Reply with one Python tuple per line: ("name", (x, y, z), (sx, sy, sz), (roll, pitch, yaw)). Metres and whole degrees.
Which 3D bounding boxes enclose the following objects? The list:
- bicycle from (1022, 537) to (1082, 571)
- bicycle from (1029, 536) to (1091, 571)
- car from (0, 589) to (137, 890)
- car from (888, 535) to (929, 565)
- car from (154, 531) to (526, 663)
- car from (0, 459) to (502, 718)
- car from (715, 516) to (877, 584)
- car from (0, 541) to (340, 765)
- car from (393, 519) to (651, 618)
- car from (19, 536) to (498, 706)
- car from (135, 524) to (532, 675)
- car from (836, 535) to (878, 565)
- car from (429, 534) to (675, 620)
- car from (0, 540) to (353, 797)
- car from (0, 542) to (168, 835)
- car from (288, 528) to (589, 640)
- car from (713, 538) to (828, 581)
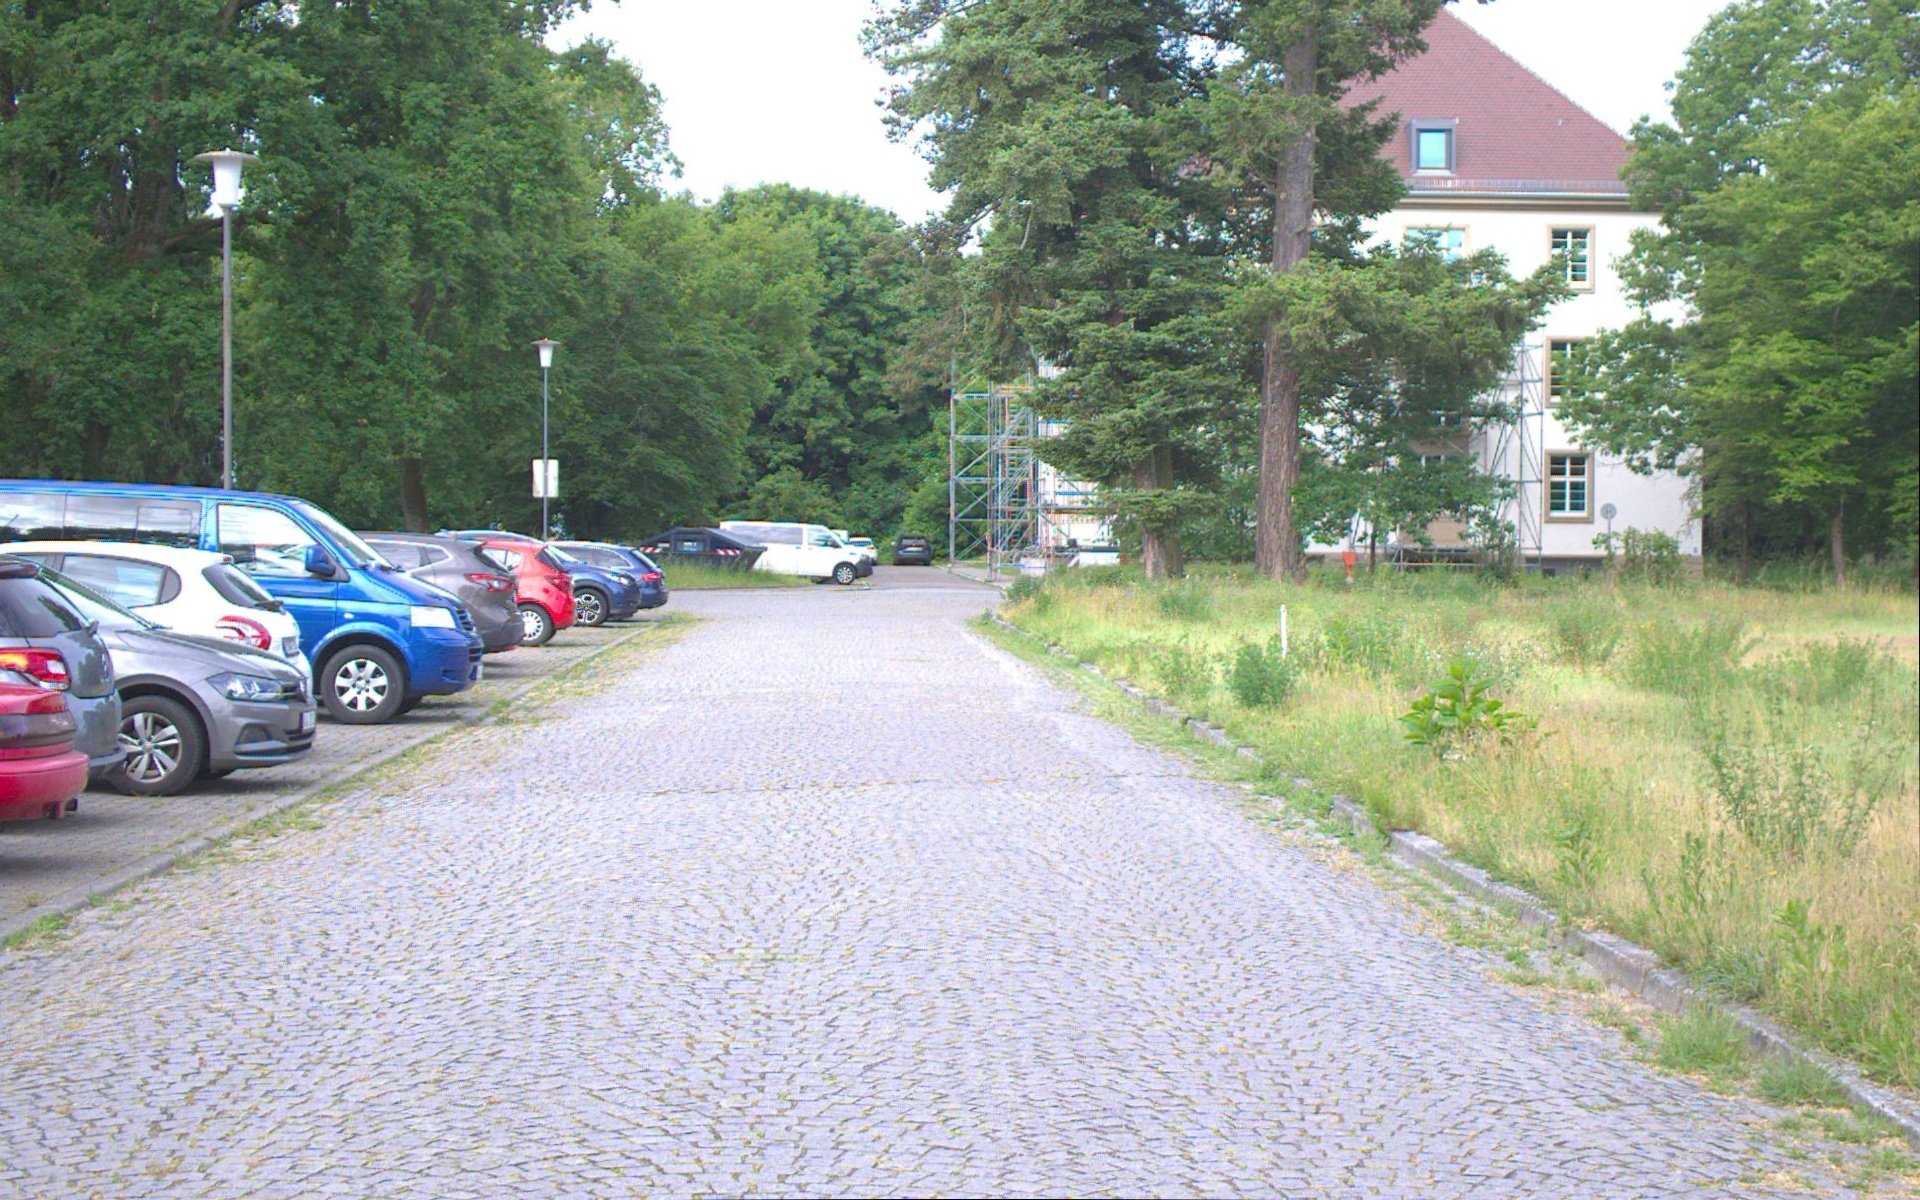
("bicycle", (3.458, -1.736, 130.018), (2.240, 1.250, 0.777), (1, 1, 1))
("bicycle", (3.662, -1.696, 125.765), (2.240, 1.250, 0.777), (1, 1, 1))
("car", (-6.069, 0.586, 15.744), (4.166, 1.262, 1.831), (0, 1, -1))
("car", (-2.692, -2.603, 178.942), (1.951, 1.516, 4.001), (1, 1, -3))
("car", (-7.350, -0.053, 41.053), (4.165, 1.505, 1.908), (0, 1, -3))
("car", (-6.425, -0.121, 29.447), (4.781, 2.115, 2.115), (0, 1, -3))
("car", (-5.391, -1.636, 112.549), (5.234, 2.160, 2.000), (1, 1, -4))
("car", (-6.547, 0.337, 24.155), (4.067, 1.492, 1.846), (0, 1, -1))
("car", (-7.473, -0.552, 58.961), (4.227, 1.571, 1.887), (2, 1, -3))
("car", (-6.467, 0.179, 32.043), (4.165, 1.505, 1.782), (0, 1, -4))
("car", (-6.917, -0.020, 38.323), (4.165, 1.616, 1.987), (0, 1, -4))
("car", (-5.359, -2.606, 178.573), (2.118, 1.516, 4.001), (1, 1, -3))
("car", (-7.521, -0.438, 63.658), (4.302, 1.456, 1.975), (2, 1, 0))
("car", (-5.996, 0.381, 21.217), (4.166, 1.486, 1.865), (0, 1, 0))
("car", (-6.527, 0.424, 18.385), (4.166, 1.477, 1.846), (0, 1, -1))
("car", (-7.336, -0.236, 48.687), (4.054, 1.520, 1.905), (0, 1, -3))
("car", (-6.347, -1.378, 115.122), (3.788, 1.390, 2.000), (1, 1, -4))
